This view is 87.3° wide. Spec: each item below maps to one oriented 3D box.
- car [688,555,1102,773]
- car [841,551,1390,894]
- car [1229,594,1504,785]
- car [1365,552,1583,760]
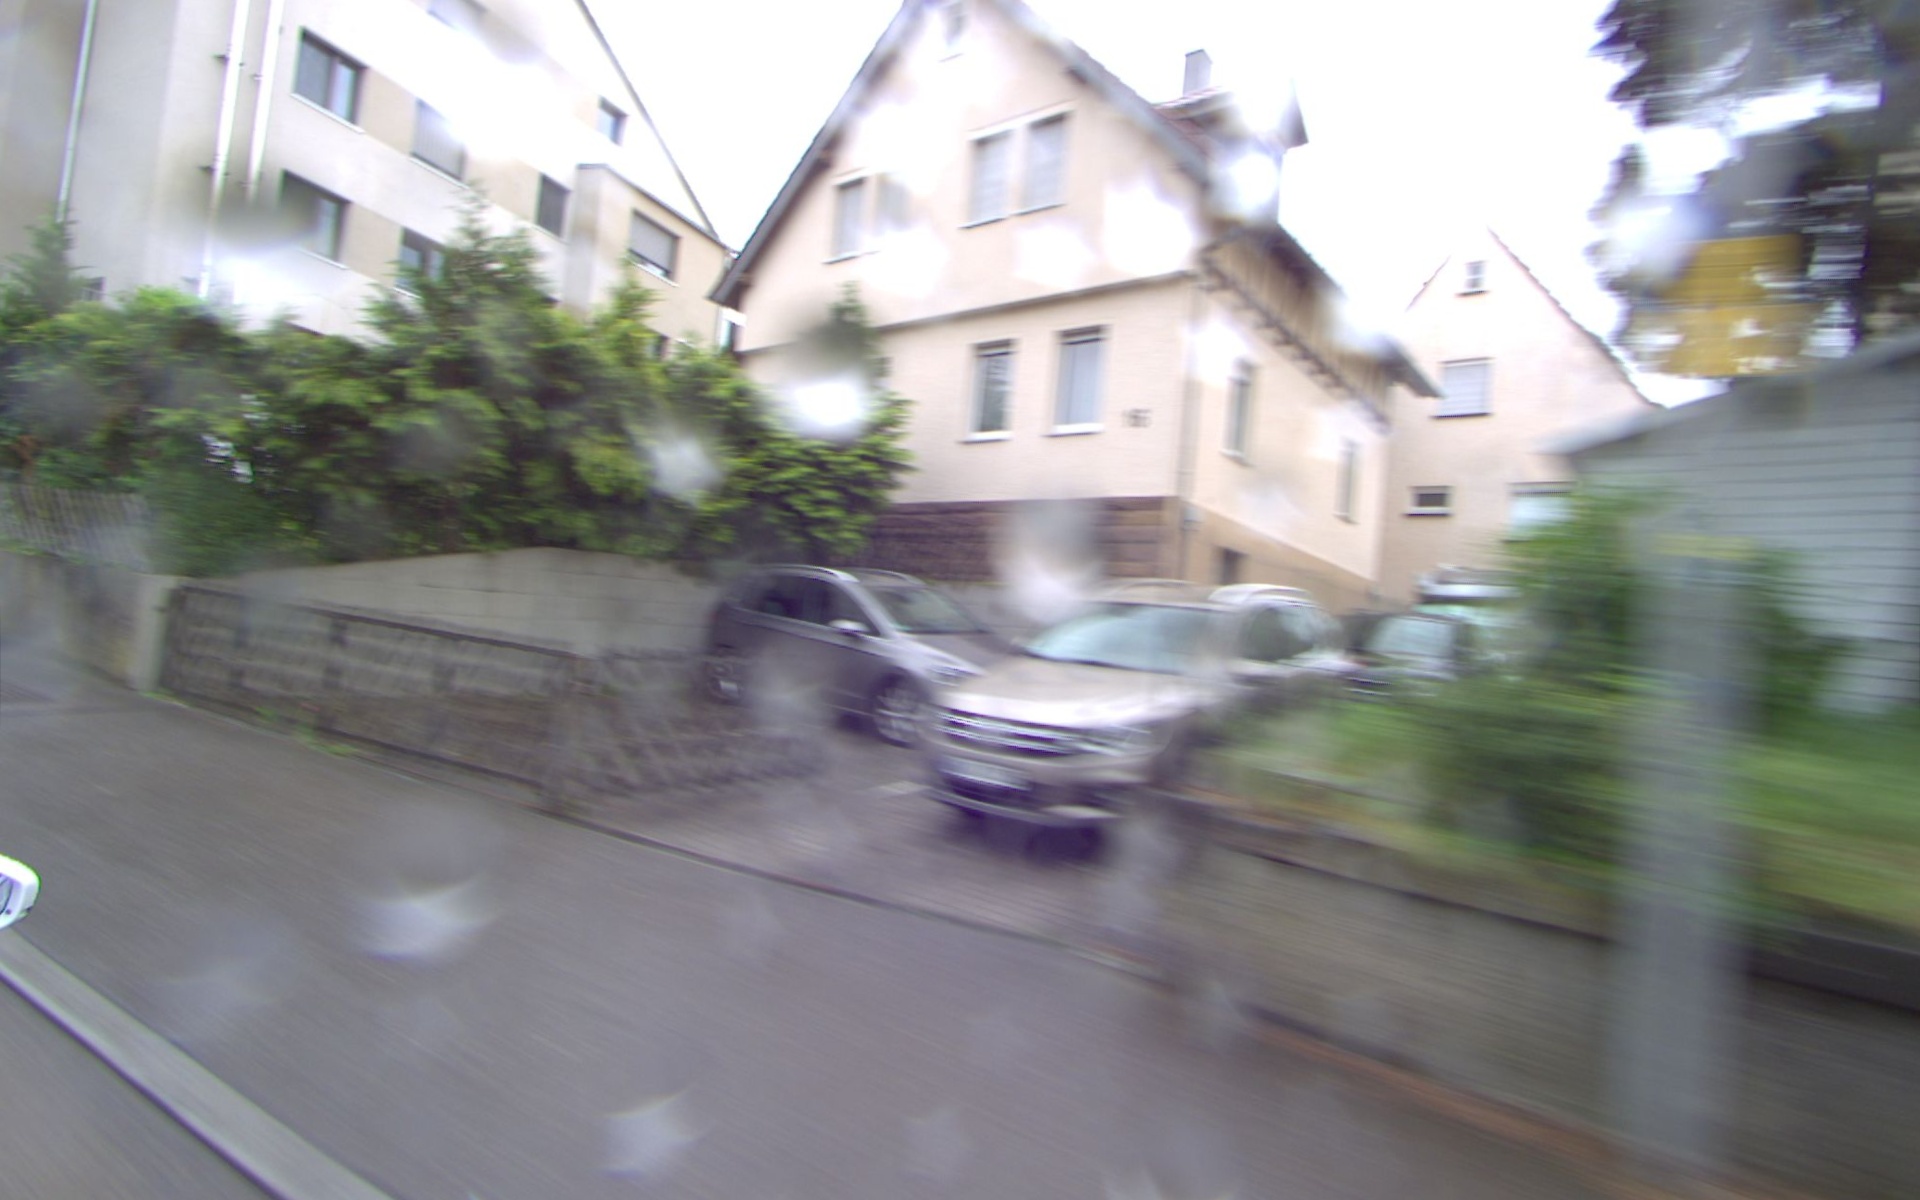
[{"bbox_3d":[-0.812,0.586,10.697,4.087,1.673,1.893,6,-1,40],"label":"car"},{"bbox_3d":[1.429,0.807,7.427,1.935,1.673,4.314,6,-1,40],"label":"car"},{"bbox_3d":[4.864,0.966,11.727,1.933,1.674,3.850,6,1,37],"label":"car"},{"bbox_3d":[8.898,0.904,17.003,2.264,2.728,6.256,6,1,34],"label":"car"}]
